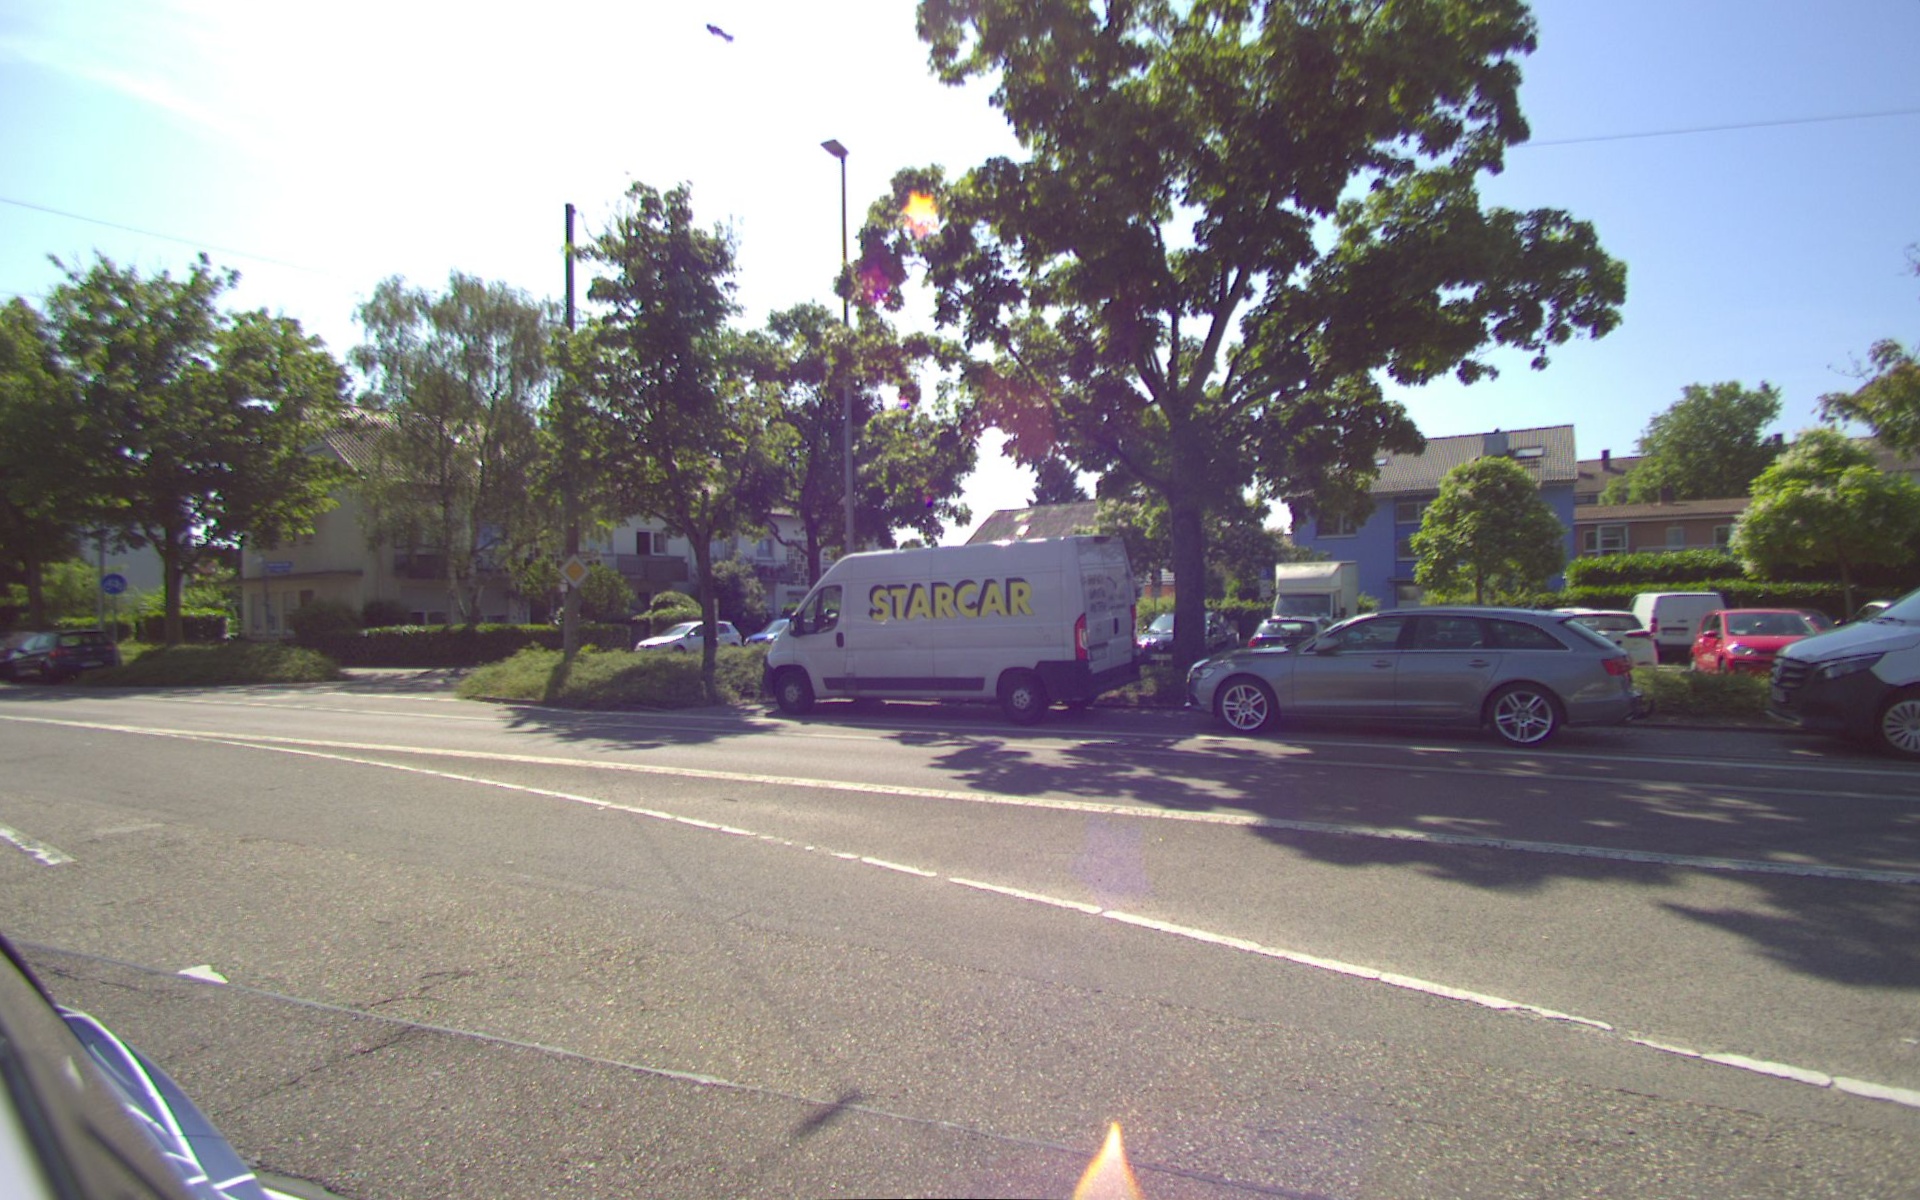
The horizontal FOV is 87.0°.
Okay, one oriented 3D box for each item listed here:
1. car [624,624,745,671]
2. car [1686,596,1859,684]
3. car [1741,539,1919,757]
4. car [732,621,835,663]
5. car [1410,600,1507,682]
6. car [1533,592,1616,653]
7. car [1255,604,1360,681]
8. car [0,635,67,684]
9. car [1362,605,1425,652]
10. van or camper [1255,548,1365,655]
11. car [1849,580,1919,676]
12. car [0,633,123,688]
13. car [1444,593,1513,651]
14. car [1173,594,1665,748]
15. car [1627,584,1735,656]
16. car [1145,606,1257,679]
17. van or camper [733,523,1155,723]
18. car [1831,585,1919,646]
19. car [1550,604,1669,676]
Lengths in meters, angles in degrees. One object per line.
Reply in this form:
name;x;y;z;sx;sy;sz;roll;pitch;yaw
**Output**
car;-9.846;1.673;36.374;1.803;1.536;3.952;-2;-1;35
car;14.734;0.685;18.587;1.724;1.420;3.961;-2;-1;28
car;10.719;0.360;9.311;5.155;1.955;2.184;-2;0;25
car;-7.000;1.665;40.475;1.803;1.536;3.952;-2;-1;35
car;10.599;0.816;21.407;1.656;1.556;3.961;-2;-1;28
car;19.025;0.678;31.479;1.726;1.741;3.965;-2;-1;25
car;7.844;0.897;22.660;1.655;1.556;3.963;-2;-1;27
car;-30.210;1.876;31.916;4.561;1.406;1.685;-2;-1;29
car;14.423;0.910;33.566;1.693;1.446;3.964;-2;-1;26
van or camper;12.087;0.107;34.566;2.569;3.269;6.909;-2;-1;27
car;17.070;0.443;17.487;1.656;1.556;3.961;-2;-1;28
car;-26.113;1.733;29.305;4.067;1.462;1.604;-2;-1;31
car;16.645;0.688;32.635;1.775;1.741;3.965;-2;-1;25
car;5.175;0.757;11.888;4.864;1.465;1.919;-2;0;29
car;20.576;0.563;29.055;1.775;1.905;3.965;-2;-1;25
car;5.727;0.953;23.769;1.655;1.556;3.963;-2;-1;27
van or camper;-0.371;0.399;15.367;6.124;2.534;2.241;-2;-2;31
car;25.463;0.391;27.399;1.775;1.556;3.965;-2;-1;25
car;12.860;0.753;20.231;1.656;1.280;3.890;-2;-1;28
